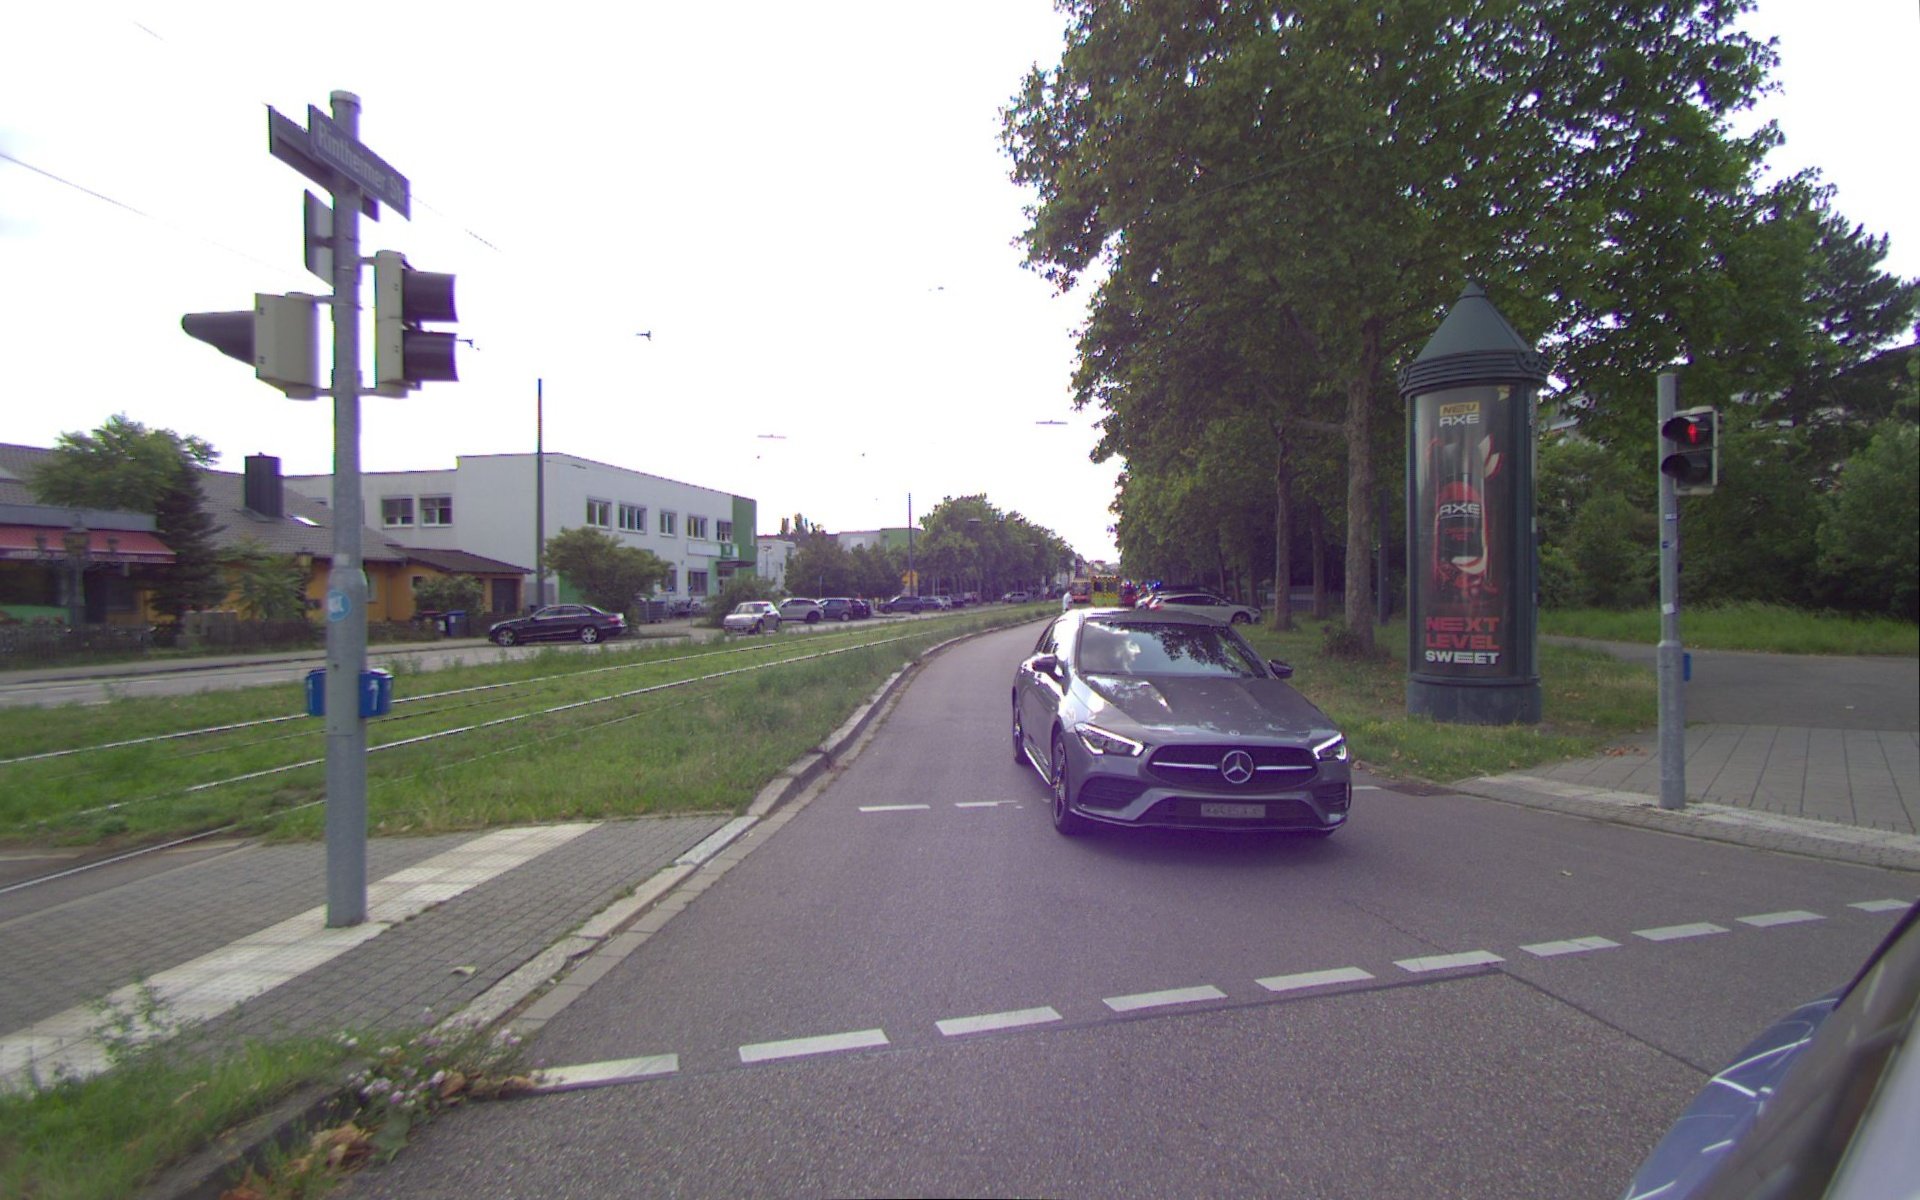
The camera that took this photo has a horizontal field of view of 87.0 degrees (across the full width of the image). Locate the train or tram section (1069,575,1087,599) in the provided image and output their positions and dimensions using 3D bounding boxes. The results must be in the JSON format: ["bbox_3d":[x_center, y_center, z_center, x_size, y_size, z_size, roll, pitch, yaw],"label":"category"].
[{"bbox_3d":[18.102,-2.004,155.880,2.451,3.641,7.412,-1,0,5],"label":"train or tram section"}]

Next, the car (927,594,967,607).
[{"bbox_3d":[-1.479,0.095,113.118,4.225,1.381,1.905,-1,0,-11],"label":"car"}]

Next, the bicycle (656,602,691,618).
[{"bbox_3d":[-18.654,0.665,65.828,2.128,0.982,0.727,-1,0,15],"label":"bicycle"}]

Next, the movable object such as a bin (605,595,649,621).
[{"bbox_3d":[-18.078,0.423,54.967,1.356,1.343,2.108,-1,0,14],"label":"movable object such as a bin"}]

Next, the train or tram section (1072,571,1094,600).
[{"bbox_3d":[16.225,-1.897,133.770,2.451,3.641,7.412,-1,0,5],"label":"train or tram section"}]

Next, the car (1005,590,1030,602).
[{"bbox_3d":[9.979,-0.704,176.117,3.916,1.861,1.826,1,0,-21],"label":"car"}]

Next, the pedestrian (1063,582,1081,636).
[{"bbox_3d":[3.539,0.279,31.974,0.577,1.705,0.493,0,-1,7],"label":"pedestrian"}]

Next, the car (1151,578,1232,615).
[{"bbox_3d":[13.458,-0.202,59.123,4.486,2.039,1.993,-1,-1,12],"label":"car"}]

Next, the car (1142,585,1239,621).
[{"bbox_3d":[11.258,0.155,49.631,4.468,1.665,1.994,-1,-1,9],"label":"car"}]

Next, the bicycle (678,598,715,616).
[{"bbox_3d":[-17.637,0.486,67.708,2.386,1.180,0.744,-1,0,19],"label":"bicycle"}]

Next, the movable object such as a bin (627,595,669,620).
[{"bbox_3d":[-17.599,0.425,57.177,1.356,1.343,2.122,-1,0,14],"label":"movable object such as a bin"}]

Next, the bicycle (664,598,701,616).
[{"bbox_3d":[-18.266,0.470,66.676,2.319,1.180,0.756,-1,0,17],"label":"bicycle"}]

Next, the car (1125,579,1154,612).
[{"bbox_3d":[19.340,-0.472,109.363,2.926,3.359,7.439,1,0,9],"label":"car"}]

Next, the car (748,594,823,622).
[{"bbox_3d":[-10.824,0.465,62.713,4.225,1.650,1.906,-1,0,-22],"label":"car"}]

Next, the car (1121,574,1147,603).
[{"bbox_3d":[20.927,-1.347,122.029,2.926,3.372,7.439,1,0,9],"label":"car"}]

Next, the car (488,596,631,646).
[{"bbox_3d":[-14.480,0.721,36.842,4.486,1.600,2.003,-2,0,-9],"label":"car"}]

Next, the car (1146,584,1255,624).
[{"bbox_3d":[10.490,0.175,44.518,4.468,1.665,1.994,-1,-1,9],"label":"car"}]

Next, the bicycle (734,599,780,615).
[{"bbox_3d":[-15.028,0.505,75.003,3.090,1.180,1.140,-1,0,7],"label":"bicycle"}]

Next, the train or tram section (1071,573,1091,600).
[{"bbox_3d":[16.847,-1.912,141.133,2.451,3.641,7.412,-1,0,5],"label":"train or tram section"}]

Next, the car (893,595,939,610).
[{"bbox_3d":[-4.275,0.235,98.985,4.225,1.381,1.905,-1,0,-11],"label":"car"}]

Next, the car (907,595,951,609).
[{"bbox_3d":[-3.207,0.236,104.779,4.225,1.381,1.905,-1,0,-11],"label":"car"}]

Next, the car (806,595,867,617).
[{"bbox_3d":[-8.740,0.400,71.617,4.082,1.523,1.864,0,0,-16],"label":"car"}]

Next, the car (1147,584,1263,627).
[{"bbox_3d":[10.082,0.239,41.971,4.468,1.665,1.994,-1,-1,9],"label":"car"}]

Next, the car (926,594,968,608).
[{"bbox_3d":[-1.378,0.114,108.425,4.225,1.381,1.905,-1,0,-11],"label":"car"}]

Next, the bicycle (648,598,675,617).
[{"bbox_3d":[-19.001,0.493,64.338,1.605,1.180,0.699,-1,0,28],"label":"bicycle"}]

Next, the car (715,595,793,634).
[{"bbox_3d":[-9.019,0.597,44.593,1.872,1.650,4.301,0,0,11],"label":"car"}]

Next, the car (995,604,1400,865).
[{"bbox_3d":[1.412,0.761,7.932,1.805,1.411,4.609,1,0,-4],"label":"car"}]

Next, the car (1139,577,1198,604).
[{"bbox_3d":[27.657,-1.235,134.502,7.330,3.372,2.970,1,0,6],"label":"car"}]

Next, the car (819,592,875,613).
[{"bbox_3d":[-8.711,0.183,77.793,4.083,1.523,1.864,0,0,-11],"label":"car"}]

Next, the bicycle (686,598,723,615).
[{"bbox_3d":[-17.330,0.428,68.567,2.358,1.129,0.792,-1,0,18],"label":"bicycle"}]

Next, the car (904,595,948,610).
[{"bbox_3d":[-3.453,0.239,102.196,4.225,1.381,1.905,-1,0,-11],"label":"car"}]

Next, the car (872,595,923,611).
[{"bbox_3d":[-5.473,0.240,88.767,4.225,1.381,1.906,-1,0,-13],"label":"car"}]

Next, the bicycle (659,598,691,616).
[{"bbox_3d":[-17.761,0.430,63.098,1.767,1.095,0.735,-1,0,9],"label":"bicycle"}]

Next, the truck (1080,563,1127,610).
[{"bbox_3d":[11.062,-0.999,77.521,3.144,3.359,7.498,-1,0,11],"label":"truck"}]

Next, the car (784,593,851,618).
[{"bbox_3d":[-9.672,0.370,68.654,4.224,1.650,1.906,0,0,-17],"label":"car"}]
